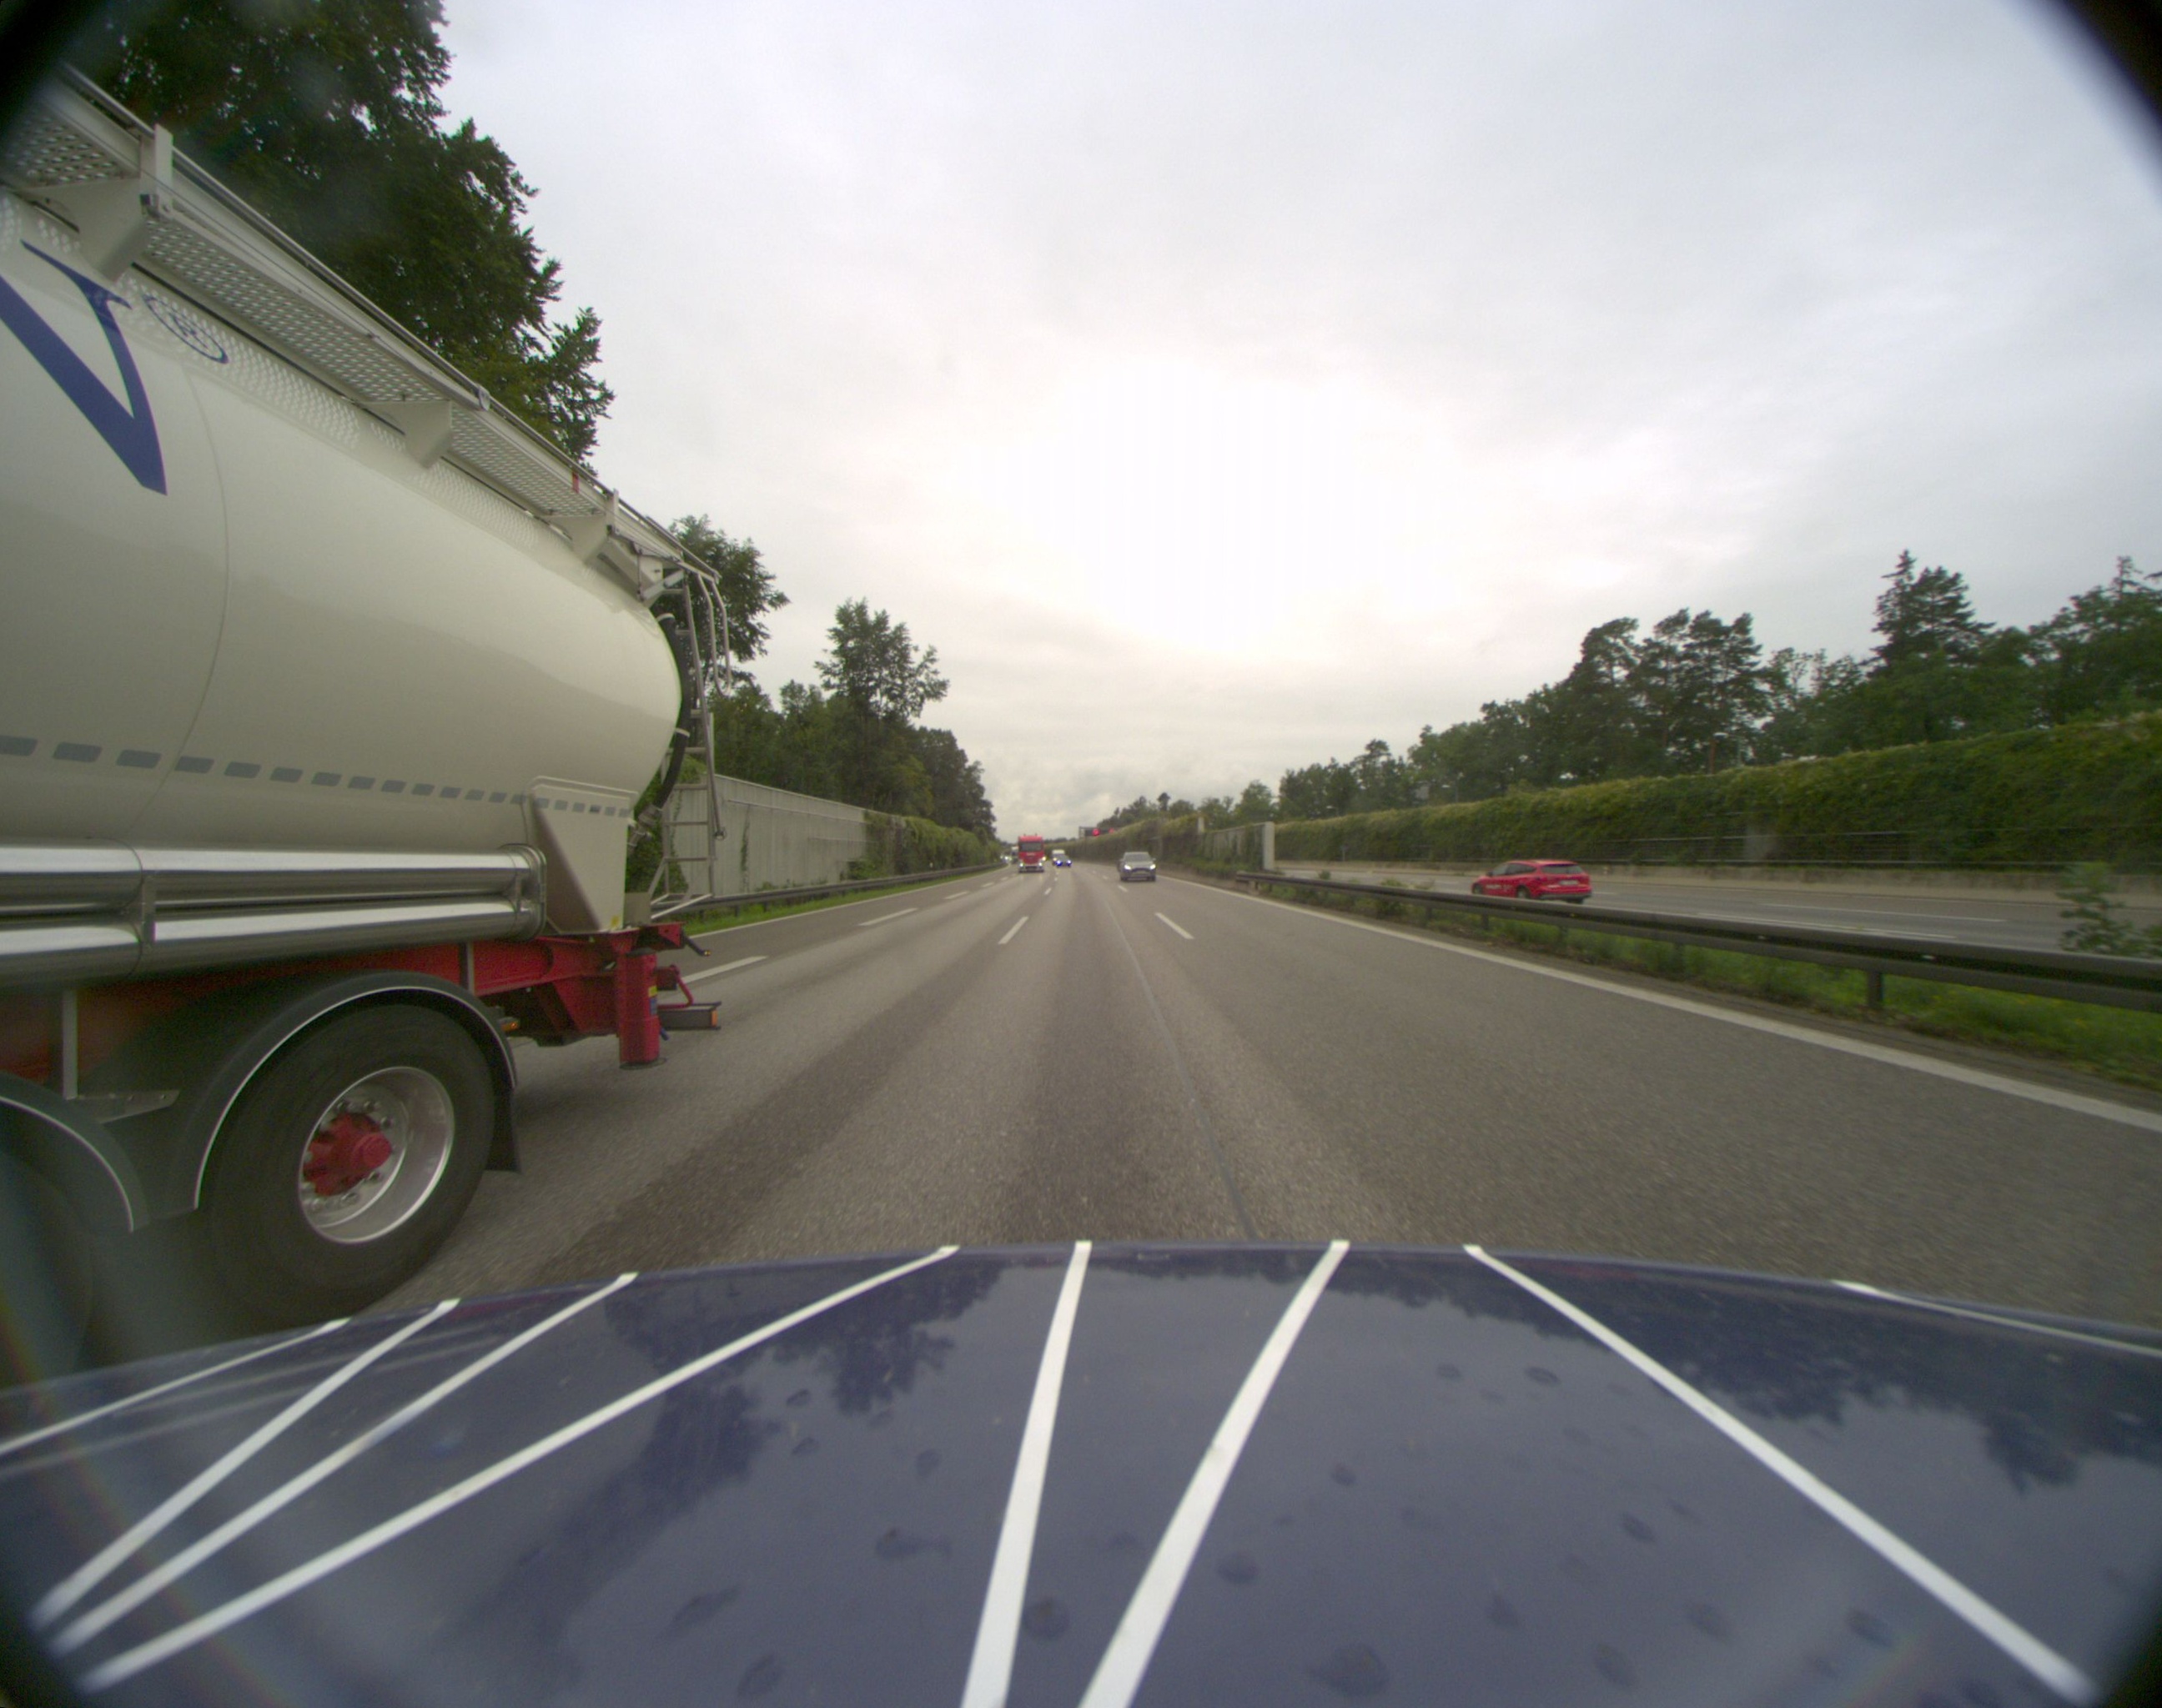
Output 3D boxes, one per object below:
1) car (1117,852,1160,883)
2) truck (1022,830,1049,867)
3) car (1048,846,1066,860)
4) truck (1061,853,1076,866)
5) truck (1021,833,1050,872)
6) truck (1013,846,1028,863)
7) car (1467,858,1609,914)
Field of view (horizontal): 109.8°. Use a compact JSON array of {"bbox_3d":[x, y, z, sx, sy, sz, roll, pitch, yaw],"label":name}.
[{"bbox_3d":[3.243,0.709,44.075,2.023,1.595,5.438,0,1,-1],"label":"car"},{"bbox_3d":[-4.824,-0.685,81.416,2.709,3.691,9.836,-1,2,-3],"label":"truck"},{"bbox_3d":[-4.035,-0.137,126.613,2.770,2.227,6.543,-1,1,-3],"label":"car"},{"bbox_3d":[-1.718,0.685,102.853,1.825,1.535,3.997,-1,2,-2],"label":"truck"},{"bbox_3d":[-4.539,-0.177,76.687,2.709,3.809,4.196,0,2,-2],"label":"truck"},{"bbox_3d":[-13.918,-0.010,174.132,2.711,3.690,8.233,-1,1,-10],"label":"truck"},{"bbox_3d":[14.711,0.960,24.830,1.776,1.560,4.716,0,1,0],"label":"car"}]
